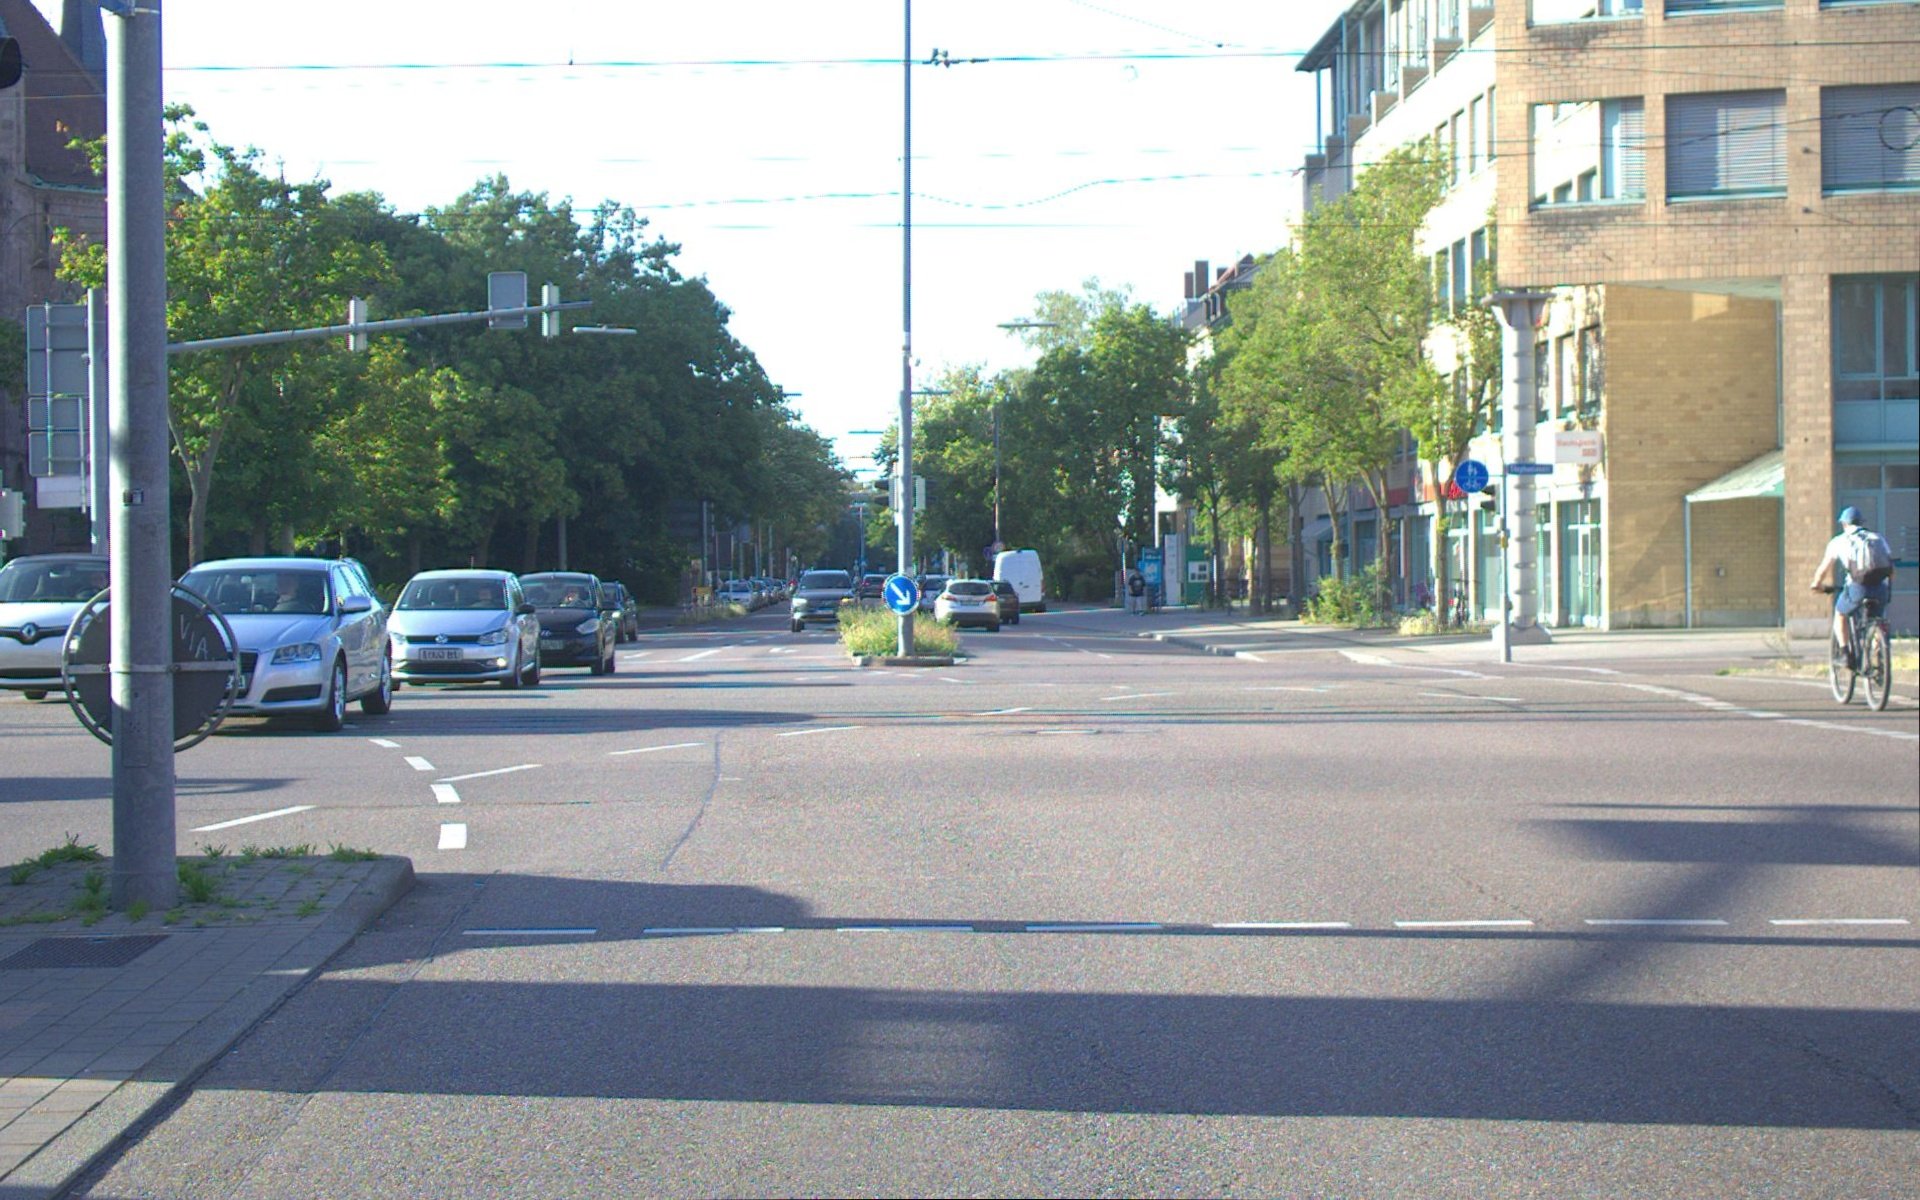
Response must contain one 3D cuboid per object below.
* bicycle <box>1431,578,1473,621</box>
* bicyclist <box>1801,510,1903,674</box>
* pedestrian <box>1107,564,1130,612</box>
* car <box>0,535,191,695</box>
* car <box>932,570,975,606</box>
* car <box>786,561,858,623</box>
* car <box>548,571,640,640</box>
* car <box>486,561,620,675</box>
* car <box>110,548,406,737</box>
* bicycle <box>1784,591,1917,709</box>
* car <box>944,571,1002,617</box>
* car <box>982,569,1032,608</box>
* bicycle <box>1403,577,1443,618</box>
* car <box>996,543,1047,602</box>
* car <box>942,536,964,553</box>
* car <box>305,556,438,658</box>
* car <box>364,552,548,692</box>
[{"bbox_3d":[11.498,-0.014,80.378,0.646,0.991,2.081,0,0,-1],"label":"bicycle"},{"bbox_3d":[7.616,-0.077,29.389,0.592,1.364,0.930,1,1,-1],"label":"bicyclist"},{"bbox_3d":[6.025,-0.464,130.691,0.847,1.797,0.776,0,1,-1],"label":"pedestrian"},{"bbox_3d":[-9.285,0.126,35.913,1.675,1.539,3.638,-2,1,-1],"label":"car"},{"bbox_3d":[-0.250,-0.460,128.034,1.594,1.263,3.266,0,1,0],"label":"car"},{"bbox_3d":[-3.997,-0.208,100.101,1.993,1.718,5.031,-1,0,-1],"label":"car"},{"bbox_3d":[-9.464,0.147,89.244,1.993,1.718,4.593,-1,0,-1],"label":"car"},{"bbox_3d":[-6.007,0.236,50.999,1.578,1.539,3.477,-2,1,-1],"label":"car"},{"bbox_3d":[-5.922,0.304,29.439,1.708,1.420,4.103,-2,1,-1],"label":"car"},{"bbox_3d":[7.621,0.415,29.503,0.592,0.940,1.978,1,1,-1],"label":"bicycle"},{"bbox_3d":[0.350,-0.178,97.898,1.594,1.263,3.266,0,1,0],"label":"car"},{"bbox_3d":[1.580,-0.400,115.517,1.594,1.263,3.266,0,1,0],"label":"car"},{"bbox_3d":[11.405,-0.058,84.767,0.646,0.991,2.081,0,0,-1],"label":"bicycle"},{"bbox_3d":[2.578,-1.163,144.726,1.993,2.432,4.000,1,0,-1],"label":"car"},{"bbox_3d":[-0.514,-4.102,255.375,1.594,1.263,3.266,0,1,0],"label":"car"},{"bbox_3d":[-9.630,0.082,56.444,1.578,1.539,3.477,-2,1,-1],"label":"car"},{"bbox_3d":[-6.078,0.231,41.793,1.675,1.539,3.806,-2,1,-1],"label":"car"}]
